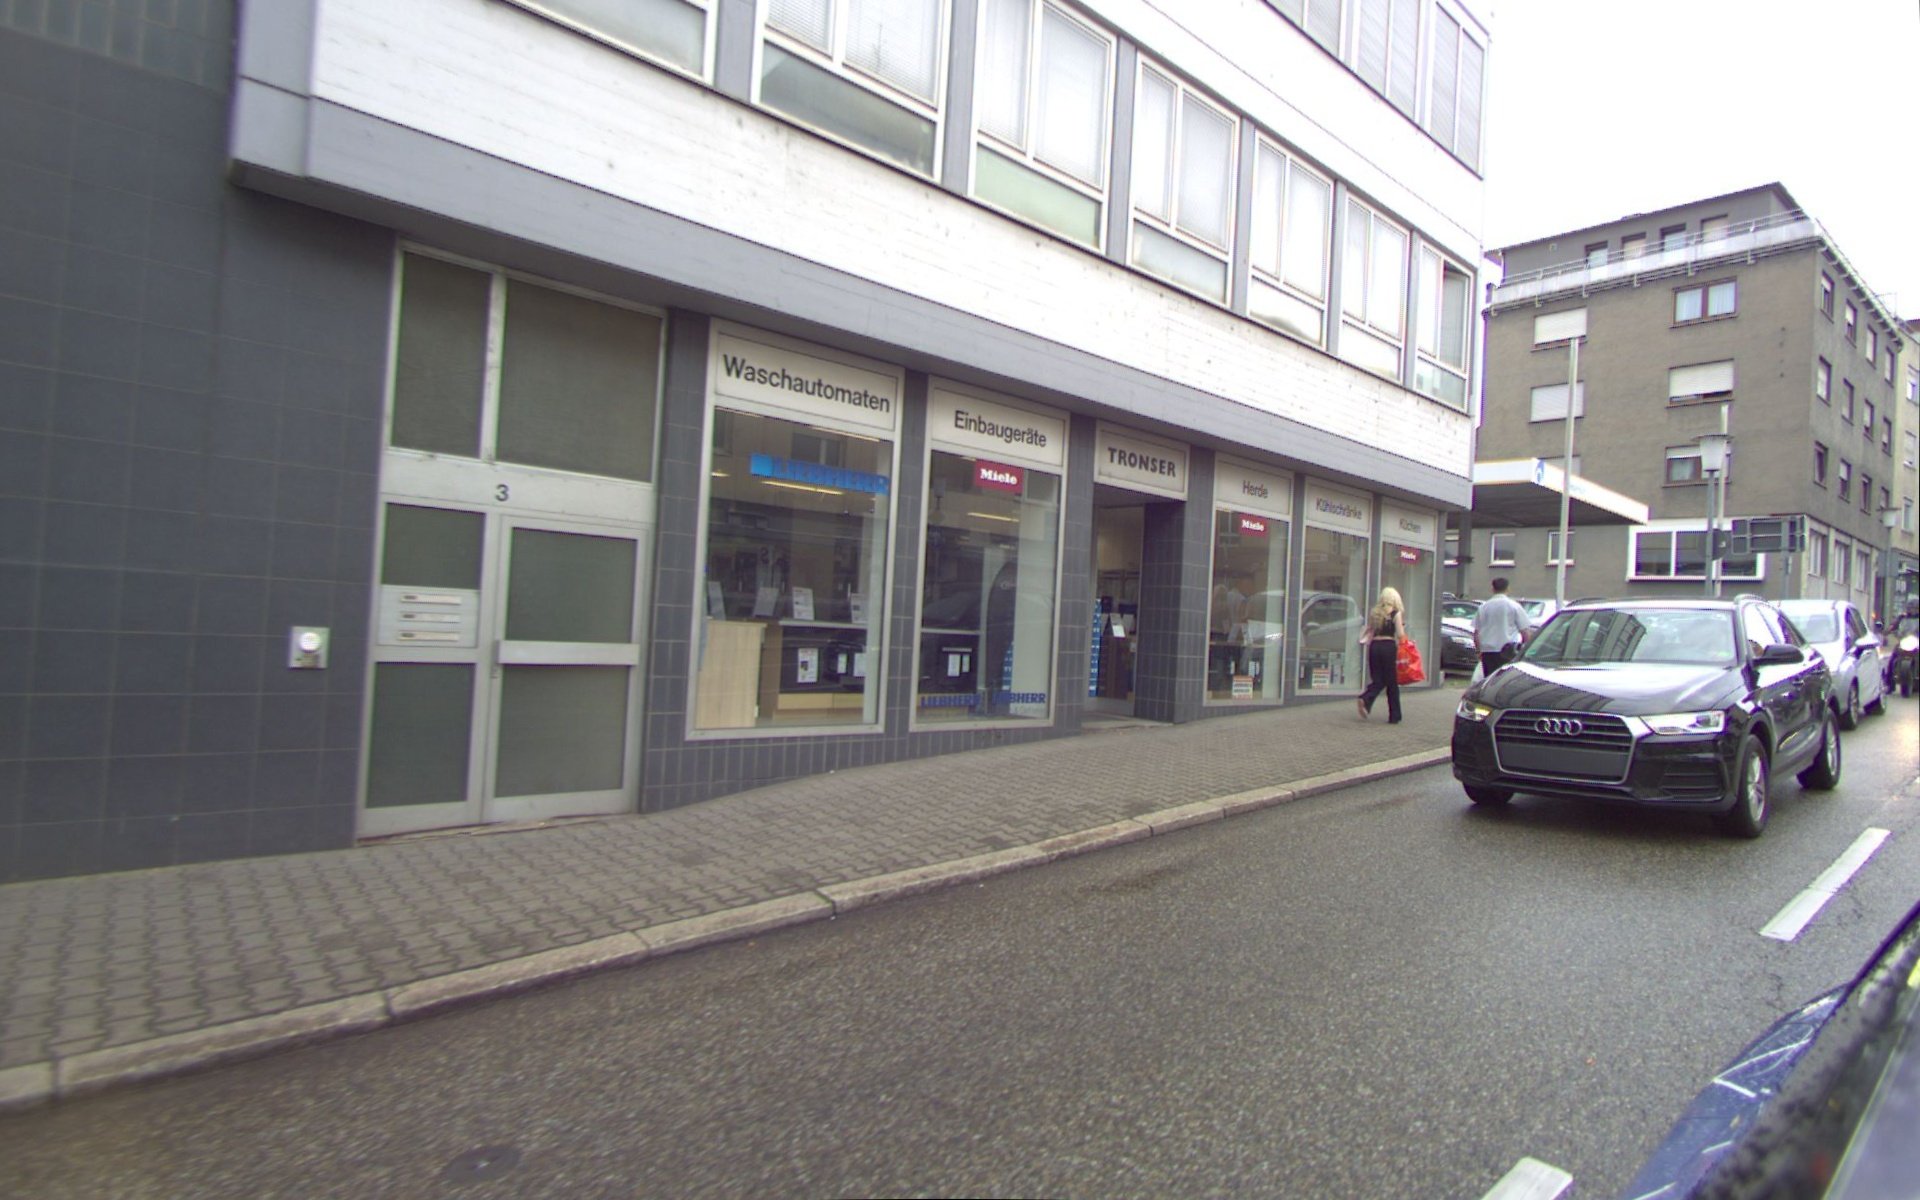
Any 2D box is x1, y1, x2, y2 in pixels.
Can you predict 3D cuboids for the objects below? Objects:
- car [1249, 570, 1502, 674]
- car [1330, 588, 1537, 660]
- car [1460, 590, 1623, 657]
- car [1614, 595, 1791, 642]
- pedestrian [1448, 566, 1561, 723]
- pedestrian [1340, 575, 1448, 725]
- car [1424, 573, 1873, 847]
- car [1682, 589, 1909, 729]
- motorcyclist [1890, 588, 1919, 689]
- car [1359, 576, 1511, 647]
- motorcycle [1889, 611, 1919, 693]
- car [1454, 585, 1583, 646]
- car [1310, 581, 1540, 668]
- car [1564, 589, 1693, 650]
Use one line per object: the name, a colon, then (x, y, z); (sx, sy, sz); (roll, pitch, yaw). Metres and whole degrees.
car: (7.603, 0.323, 18.627); (3.974, 1.468, 1.777); (6, 3, 33)
car: (10.569, 0.479, 22.695); (3.976, 1.418, 1.650); (2, 1, 36)
car: (14.042, 0.513, 24.328); (4.530, 1.433, 1.793); (0, 2, -38)
car: (25.497, 0.609, 34.904); (1.962, 1.523, 4.534); (0, -1, -36)
pedestrian: (6.431, 0.485, 11.942); (1.102, 1.726, 0.785); (0, 4, -43)
pedestrian: (4.892, 0.529, 11.403); (0.876, 1.569, 0.766); (0, 4, -43)
car: (5.509, 0.676, 7.904); (4.126, 1.580, 1.826); (1, -2, -40)
car: (11.209, 0.693, 13.480); (4.182, 1.561, 1.827); (0, -2, -44)
motorcyclist: (15.787, 0.615, 16.506); (0.845, 1.610, 0.947); (-3, -2, 45)
car: (12.392, 0.318, 26.291); (4.411, 1.563, 1.794); (2, 3, -40)
motorcycle: (15.803, 0.814, 16.510); (0.845, 1.241, 2.335); (-2, -2, 44)
car: (16.498, 0.474, 29.813); (4.339, 1.530, 1.794); (2, 3, -40)
car: (9.334, 0.424, 20.414); (3.973, 1.549, 1.742); (1, 1, 35)
car: (18.575, 0.498, 28.034); (4.358, 1.531, 1.792); (0, 1, -40)
